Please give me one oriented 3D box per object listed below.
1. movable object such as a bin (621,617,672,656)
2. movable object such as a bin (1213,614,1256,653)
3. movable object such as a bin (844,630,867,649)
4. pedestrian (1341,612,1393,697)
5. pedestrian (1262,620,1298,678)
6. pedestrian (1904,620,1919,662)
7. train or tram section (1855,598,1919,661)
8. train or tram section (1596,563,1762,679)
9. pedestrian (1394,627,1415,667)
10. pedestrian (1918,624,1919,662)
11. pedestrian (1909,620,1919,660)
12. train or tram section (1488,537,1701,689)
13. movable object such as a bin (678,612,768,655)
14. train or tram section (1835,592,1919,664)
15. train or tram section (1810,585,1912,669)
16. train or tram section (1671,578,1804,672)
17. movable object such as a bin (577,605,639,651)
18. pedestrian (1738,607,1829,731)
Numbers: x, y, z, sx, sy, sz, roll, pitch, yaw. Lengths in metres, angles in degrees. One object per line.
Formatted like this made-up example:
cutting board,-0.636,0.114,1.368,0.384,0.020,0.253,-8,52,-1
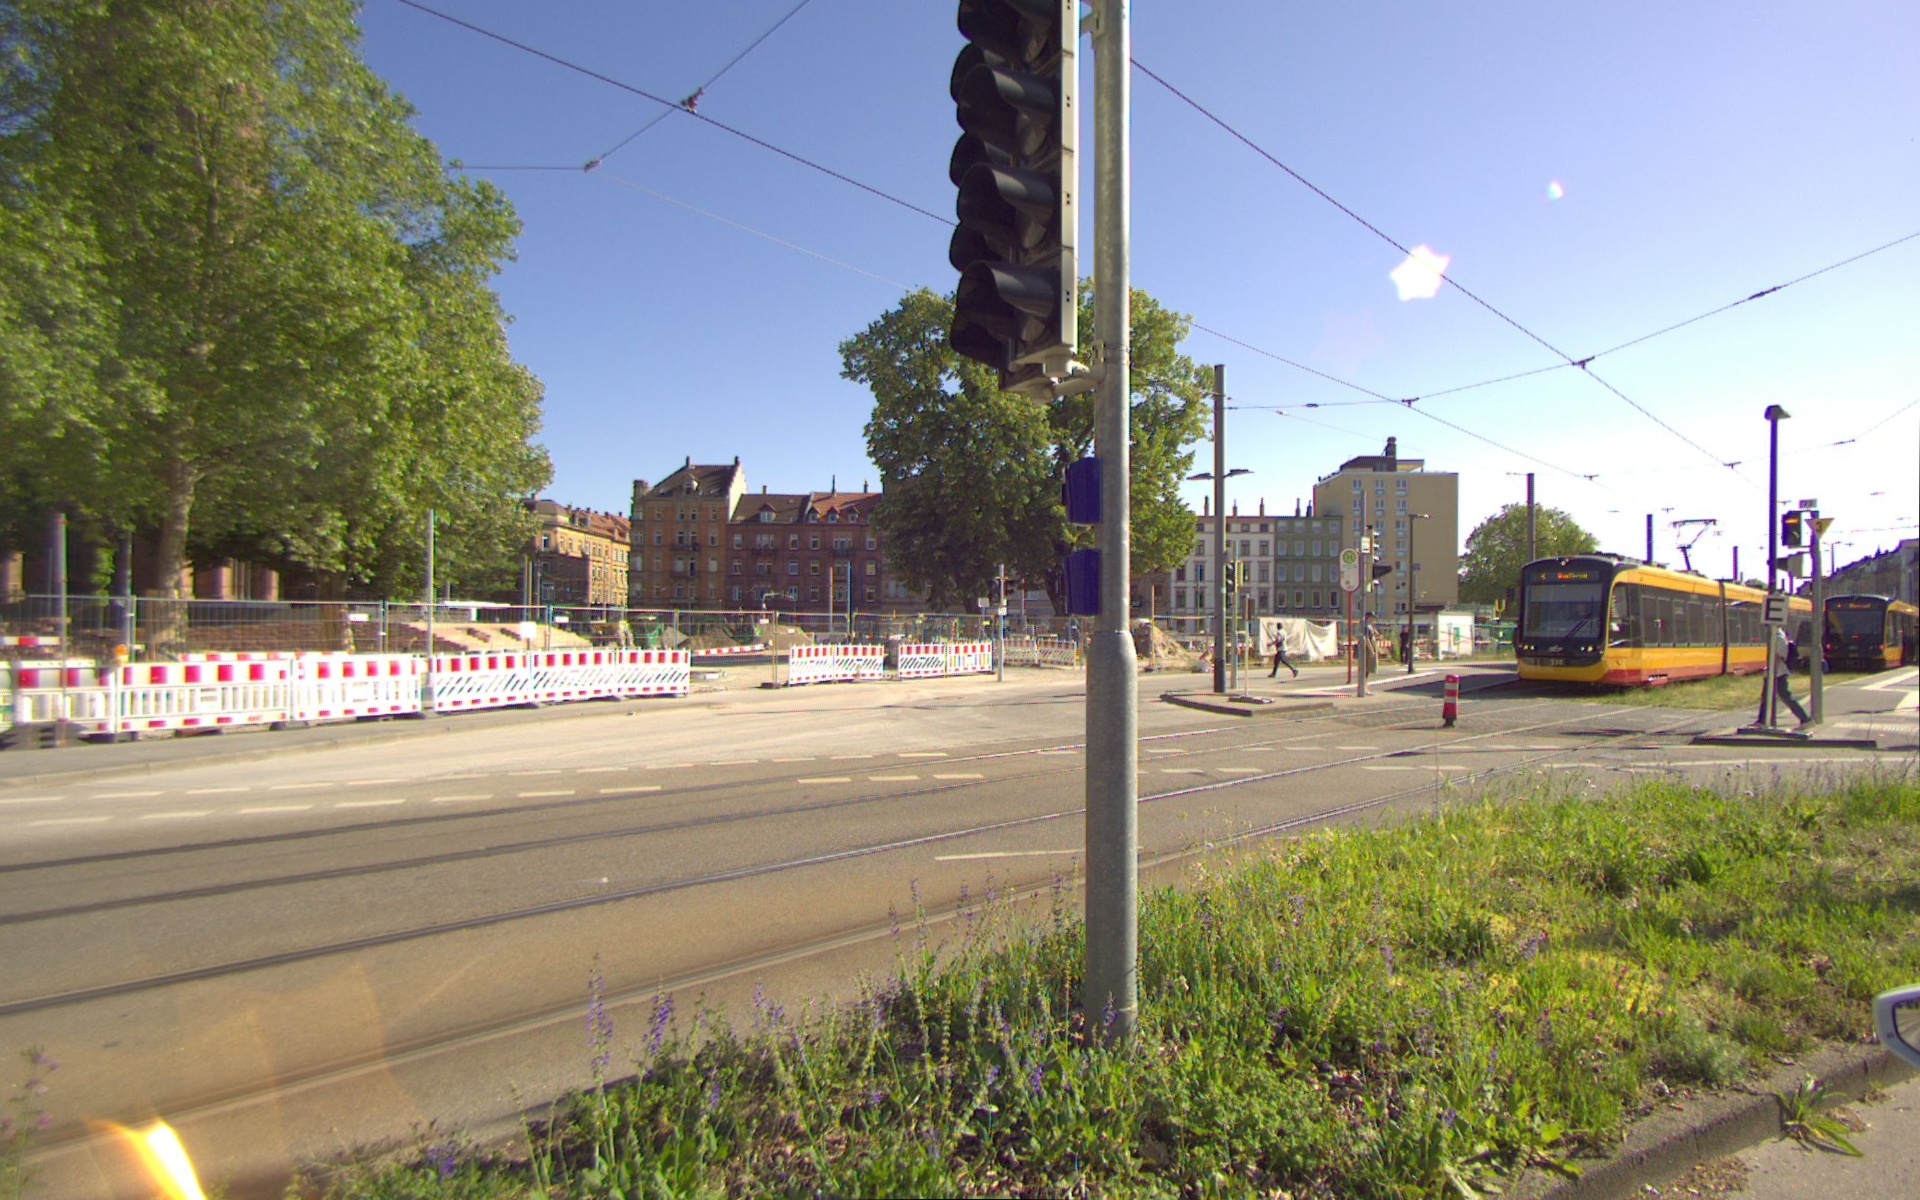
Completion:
movable object such as a bin,-20.074,2.320,64.542,1.857,2.377,4.230,2,-1,0
movable object such as a bin,20.647,2.514,75.698,1.798,2.833,3.997,2,-1,-5
movable object such as a bin,-10.043,3.779,96.844,1.716,1.702,3.802,0,-1,2
pedestrian,9.320,1.219,22.993,0.888,1.875,0.760,-1,1,39
pedestrian,10.050,1.538,31.541,0.955,1.791,0.864,0,-2,25
pedestrian,43.951,1.906,46.111,0.756,1.908,0.838,3,-1,-45
train or tram section,57.273,1.797,61.593,10.472,3.554,2.843,2,-1,-44
train or tram section,25.603,0.788,35.459,10.537,3.554,2.790,2,-1,-43
pedestrian,20.279,2.138,45.807,0.795,1.791,0.661,2,-2,-45
pedestrian,48.906,2.183,50.729,0.697,1.881,0.668,3,-1,-38
pedestrian,47.642,1.996,49.856,0.732,1.943,0.738,1,-1,45
train or tram section,18.063,0.462,28.152,10.411,3.554,2.789,2,-2,-45
movable object such as a bin,-16.974,2.393,72.194,5.968,2.795,1.894,2,-1,-3
train or tram section,49.789,1.549,54.338,10.472,3.554,2.843,2,-2,-44
train or tram section,42.334,1.278,47.048,10.472,3.554,2.843,2,-2,-44
train or tram section,33.364,1.098,42.879,11.132,3.554,2.790,2,-1,-43
movable object such as a bin,-26.484,2.114,75.774,3.060,3.214,5.244,2,-1,-5
pedestrian,12.957,1.062,15.811,0.756,1.856,1.006,3,-1,-45
